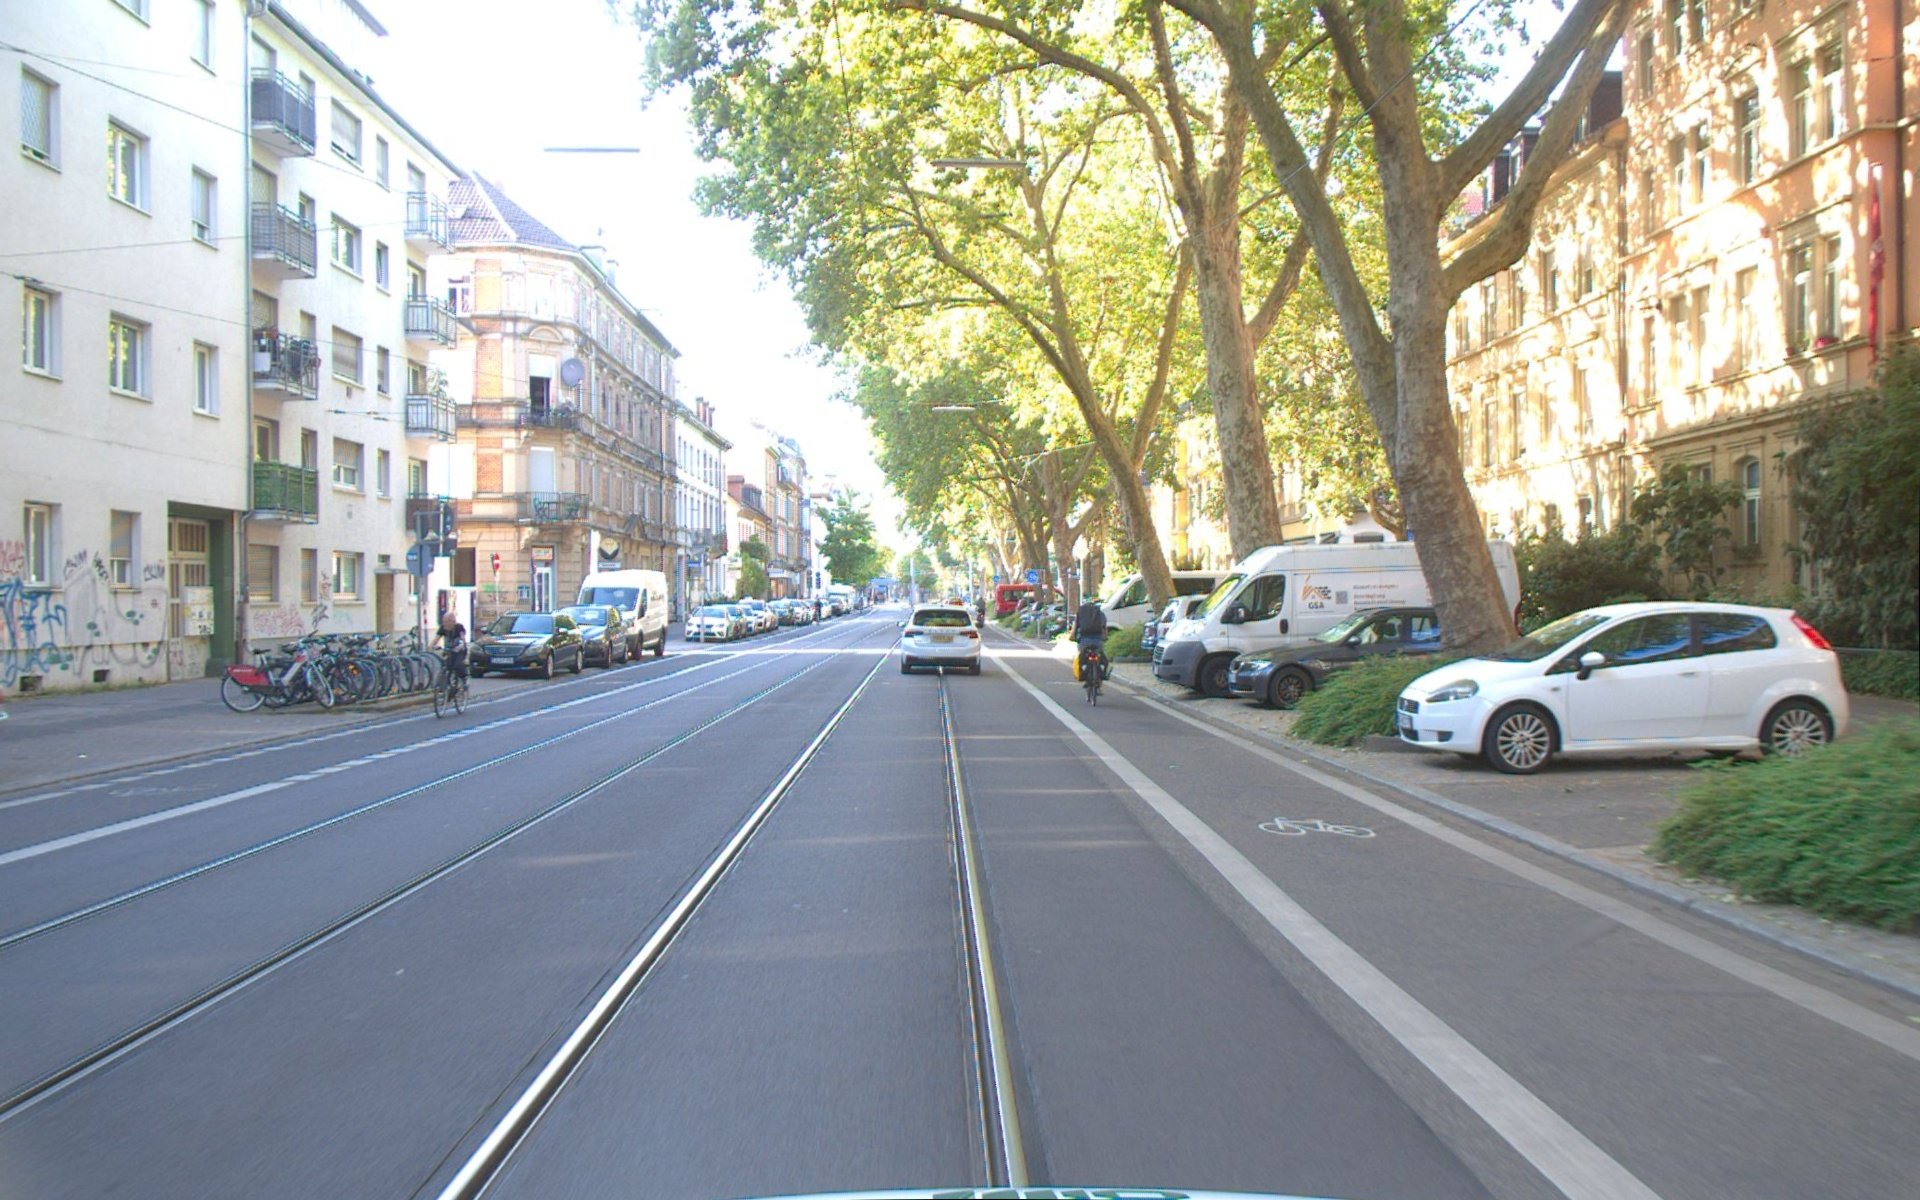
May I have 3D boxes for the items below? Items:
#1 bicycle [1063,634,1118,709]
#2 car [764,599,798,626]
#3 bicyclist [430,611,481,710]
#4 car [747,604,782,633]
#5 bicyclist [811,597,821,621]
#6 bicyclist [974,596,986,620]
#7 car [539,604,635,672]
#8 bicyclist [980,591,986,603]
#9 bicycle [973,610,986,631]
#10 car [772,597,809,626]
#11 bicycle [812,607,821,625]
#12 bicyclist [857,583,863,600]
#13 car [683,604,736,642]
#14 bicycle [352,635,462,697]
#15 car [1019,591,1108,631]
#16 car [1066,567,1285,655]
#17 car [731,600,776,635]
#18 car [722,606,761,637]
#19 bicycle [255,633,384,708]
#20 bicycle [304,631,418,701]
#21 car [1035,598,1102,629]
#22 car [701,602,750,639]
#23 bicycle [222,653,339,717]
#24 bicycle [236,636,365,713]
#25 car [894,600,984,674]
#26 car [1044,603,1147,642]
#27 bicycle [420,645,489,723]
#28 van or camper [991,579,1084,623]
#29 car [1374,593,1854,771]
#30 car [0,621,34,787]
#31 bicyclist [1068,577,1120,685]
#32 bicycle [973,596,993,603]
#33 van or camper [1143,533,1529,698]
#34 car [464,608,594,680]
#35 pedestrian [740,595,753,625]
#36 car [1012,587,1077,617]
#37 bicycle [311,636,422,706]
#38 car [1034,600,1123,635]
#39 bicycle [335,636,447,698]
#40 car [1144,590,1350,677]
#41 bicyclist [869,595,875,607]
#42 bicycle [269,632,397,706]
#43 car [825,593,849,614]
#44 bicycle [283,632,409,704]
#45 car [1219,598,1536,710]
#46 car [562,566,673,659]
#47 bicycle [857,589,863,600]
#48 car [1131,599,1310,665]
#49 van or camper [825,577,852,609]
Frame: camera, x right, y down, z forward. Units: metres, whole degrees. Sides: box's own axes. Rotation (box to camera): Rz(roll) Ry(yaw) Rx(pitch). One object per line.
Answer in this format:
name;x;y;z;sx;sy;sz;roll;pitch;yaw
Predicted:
bicycle;1.998;1.075;25.598;0.583;1.022;2.511;2;0;-1
car;-10.859;0.751;100.513;1.522;1.542;3.925;-1;0;2
bicyclist;-7.473;0.885;24.501;0.498;1.418;0.709;-2;0;-1
car;-10.709;0.998;90.677;1.629;1.547;4.062;1;0;-3
bicyclist;-9.171;0.568;105.538;0.571;1.508;0.807;-1;0;-1
bicyclist;1.137;0.477;94.259;0.665;1.362;0.525;1;0;-1
car;-9.751;0.961;43.491;1.684;1.660;4.345;-1;0;-2
bicyclist;3.106;-0.391;225.188;0.721;1.617;0.587;-1;0;12
bicycle;1.119;1.148;94.378;0.666;1.175;2.964;1;0;-1
car;-10.793;0.701;105.729;1.818;1.733;4.763;-1;0;0
bicycle;-9.179;1.020;105.627;0.412;1.170;2.231;-2;0;-2
bicyclist;-10.114;-0.836;167.196;0.463;1.664;0.800;-1;0;0
car;-10.479;0.947;69.422;1.705;1.518;4.043;1;0;-2
bicycle;-9.946;1.183;29.743;1.853;1.056;0.402;1;0;6
car;5.171;0.556;82.808;4.178;1.748;1.848;-3;0;-3
car;5.942;0.290;46.143;5.868;2.322;2.006;-1;1;0
car;-10.643;0.866;85.355;1.750;1.753;4.717;1;0;-1
car;-10.571;1.007;80.098;1.666;1.445;3.996;1;0;-5
bicycle;-10.130;1.109;26.172;1.890;1.138;0.440;1;0;6
bicycle;-10.099;1.111;27.886;1.780;1.138;0.425;1;0;6
car;5.871;0.734;89.752;3.522;1.627;1.540;-1;-1;-1
car;-10.588;0.908;74.906;1.705;1.589;4.784;1;0;-2
bicycle;-10.233;1.270;24.950;1.592;0.933;0.400;1;0;-18
bicycle;-10.178;1.143;25.540;1.853;1.138;0.402;1;0;6
car;-0.504;0.767;35.773;1.805;1.506;3.836;0;0;-3
car;5.528;0.900;67.703;4.014;1.517;1.830;-1;0;-3
bicycle;-7.479;1.226;24.545;0.408;1.035;1.946;-2;0;-1
van or camper;4.969;0.031;106.464;5.699;2.562;2.286;-3;1;-3
car;6.096;0.739;15.736;3.872;1.506;1.688;-1;0;1
car;-9.633;0.971;13.354;1.655;1.517;4.728;-1;0;0
bicyclist;2.047;0.465;25.362;0.602;1.579;0.935;4;0;-1
bicycle;3.148;-0.072;225.148;2.711;1.017;0.593;1;0;14
van or camper;6.164;0.239;27.572;5.911;2.534;2.106;-1;0;-2
car;-9.724;0.950;37.636;1.683;1.482;4.572;-1;0;1
pedestrian;-14.688;0.659;113.819;0.744;2.049;0.829;0;0;-3
car;5.169;0.135;101.757;3.743;1.678;1.766;-2;-1;-4
bicycle;-10.109;1.200;28.197;1.751;1.138;0.425;1;0;6
car;5.517;0.813;77.035;3.947;1.506;1.680;-1;0;-3
bicycle;-10.036;1.181;29.193;1.853;1.056;0.402;1;0;6
car;5.906;0.675;34.306;3.876;1.684;1.794;-1;-1;-4
bicyclist;-11.527;0.153;216.001;0.625;1.529;1.070;-2;0;0
bicycle;-10.117;1.109;26.712;1.919;1.138;0.440;1;0;6
car;-11.470;0.327;154.402;1.925;1.812;4.935;2;0;-2
bicycle;-10.092;1.110;27.199;1.926;1.138;0.425;1;0;6
car;6.196;0.787;24.877;4.299;1.579;1.782;1;0;-2
car;-10.087;0.352;49.154;2.022;2.580;5.667;-1;0;1
bicycle;-10.114;-0.519;167.005;0.471;1.105;1.846;-1;0;0
car;6.244;0.742;39.849;3.973;1.485;1.795;-1;0;-3
van or camper;-12.611;-0.742;172.582;2.171;3.195;7.114;0;0;1
